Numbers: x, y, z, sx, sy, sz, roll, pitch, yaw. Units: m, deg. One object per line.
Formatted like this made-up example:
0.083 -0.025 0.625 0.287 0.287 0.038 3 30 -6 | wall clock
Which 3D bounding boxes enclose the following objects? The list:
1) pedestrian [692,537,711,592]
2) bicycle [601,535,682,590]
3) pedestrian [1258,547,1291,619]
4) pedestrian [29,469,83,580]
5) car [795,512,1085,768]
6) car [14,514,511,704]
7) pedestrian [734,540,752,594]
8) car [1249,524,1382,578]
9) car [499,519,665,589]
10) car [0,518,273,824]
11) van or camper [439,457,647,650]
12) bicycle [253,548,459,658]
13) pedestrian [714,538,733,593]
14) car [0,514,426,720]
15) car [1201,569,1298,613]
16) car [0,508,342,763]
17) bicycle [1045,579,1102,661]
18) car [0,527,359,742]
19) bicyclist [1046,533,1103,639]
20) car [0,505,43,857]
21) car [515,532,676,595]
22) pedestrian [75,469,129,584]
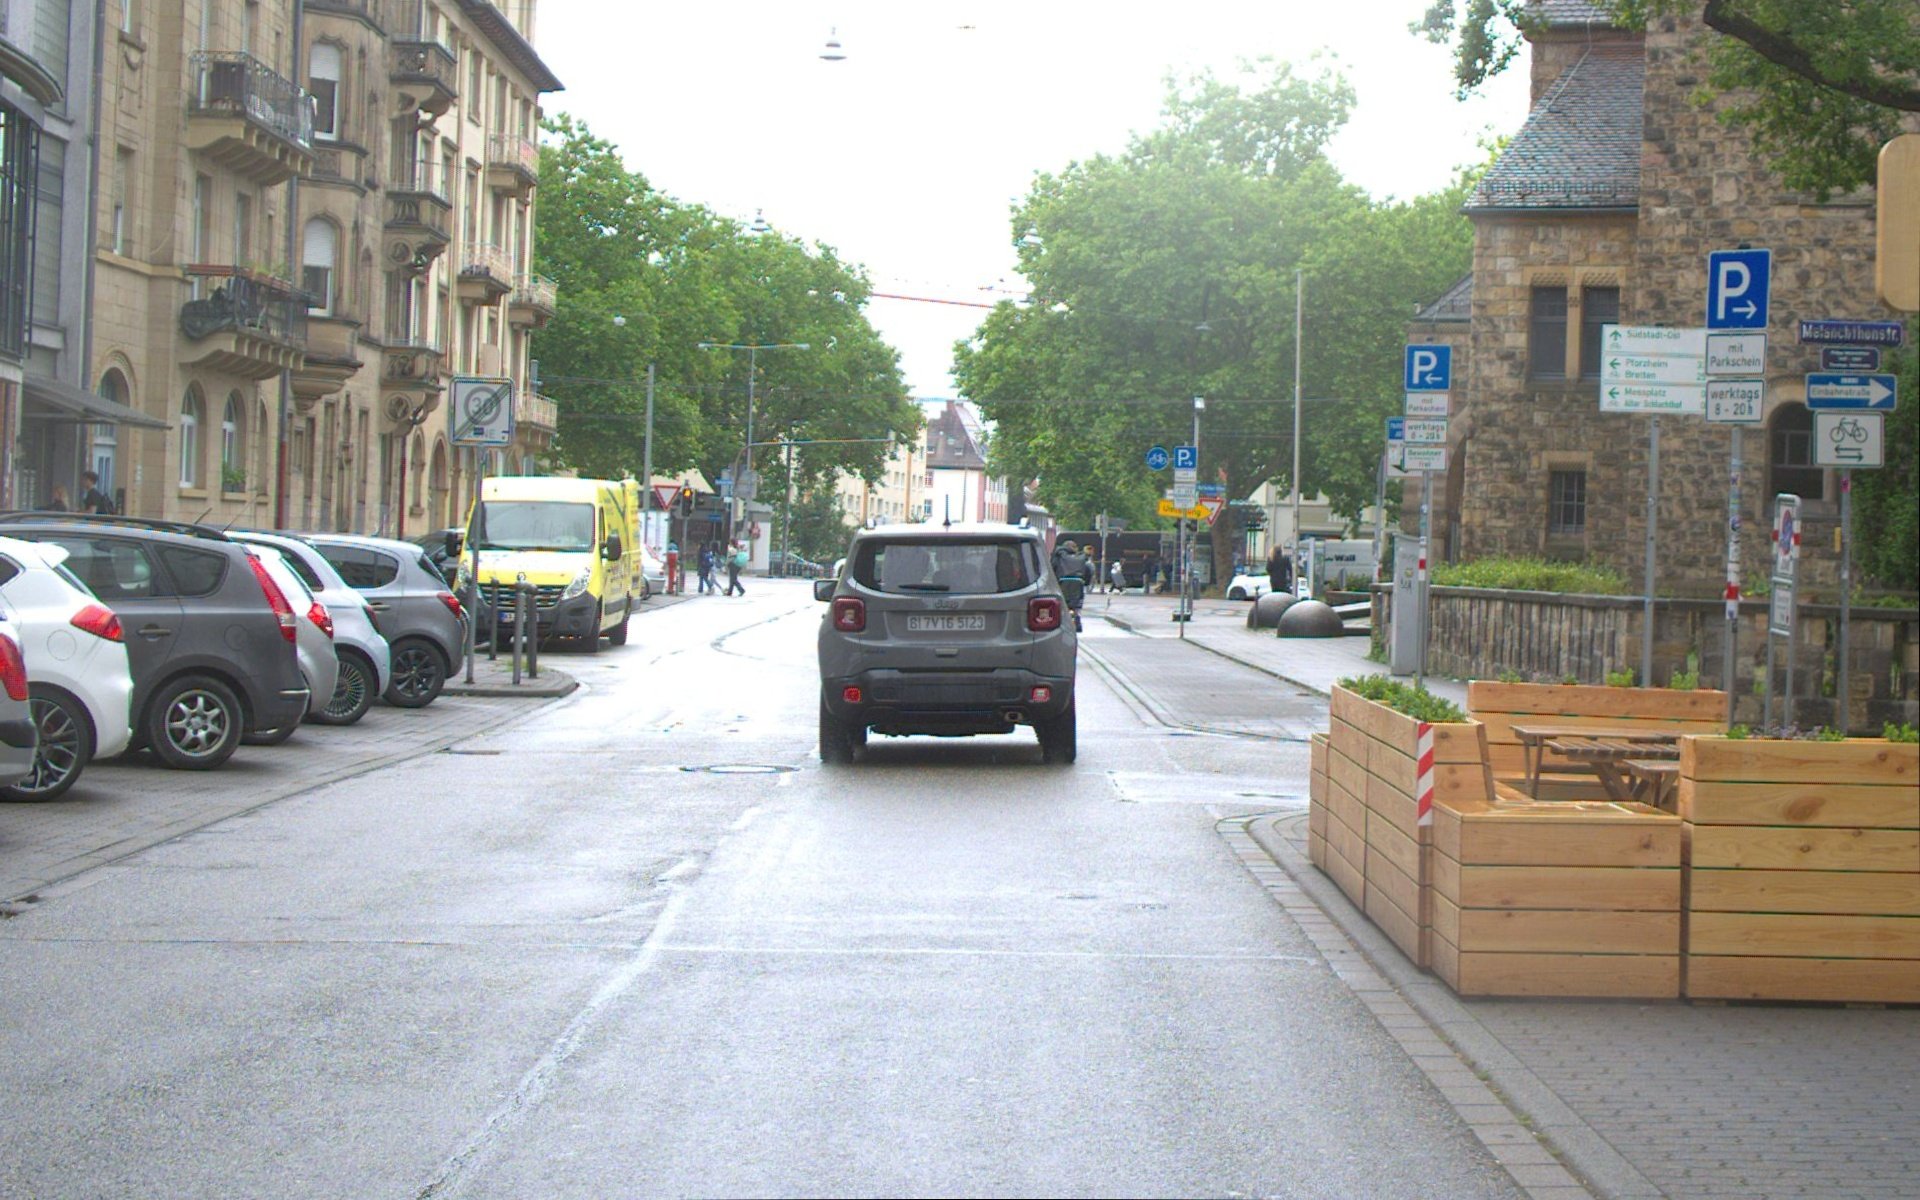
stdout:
-7.491 -1.025 99.705 0.467 1.580 0.659 1 1 -1 | pedestrian
-8.664 -1.021 93.547 2.109 1.439 0.539 1 1 -19 | bicycle
7.436 -0.405 81.377 0.691 1.705 0.684 1 1 1 | pedestrian
-13.827 -1.156 52.565 0.660 1.669 0.797 1 1 -23 | pedestrian
-0.166 0.237 25.202 1.898 1.665 4.506 1 1 -1 | car
-6.155 0.084 30.366 3.818 1.502 1.989 2 1 -30 | car
-6.348 -0.974 100.587 0.467 1.580 0.752 1 1 -1 | pedestrian
16.050 -2.203 155.449 5.905 2.326 2.059 1 1 4 | car
-9.532 -1.164 86.757 3.729 1.553 1.672 3 0 -33 | car
-6.343 0.251 18.606 4.510 1.534 2.338 5 -2 -32 | car
-5.942 -0.574 49.878 2.121 2.522 6.874 -2 -1 0 | van or camper
-6.716 0.025 38.256 2.132 1.093 0.594 3 1 1 | bicycle
-6.867 -0.995 99.767 0.467 1.580 0.752 1 1 -1 | pedestrian
-6.190 0.133 27.441 3.375 1.502 1.681 2 1 -30 | car
10.382 -0.333 123.350 3.190 1.495 1.540 1 1 18 | car
-5.870 0.199 21.888 3.375 1.536 1.681 2 1 -31 | car
1.525 0.255 46.246 0.705 1.050 1.813 1 1 1 | bicycle
-6.265 0.228 24.754 3.375 1.453 1.681 2 1 -33 | car
1.536 -0.197 46.240 0.705 1.399 1.171 1 1 1 | bicyclist
-6.192 0.357 15.980 3.375 1.648 1.634 0 1 -32 | car
-8.910 -0.891 84.131 3.413 1.311 1.779 3 0 -33 | car
-13.186 -1.126 52.841 0.660 1.751 0.797 1 1 -23 | pedestrian
